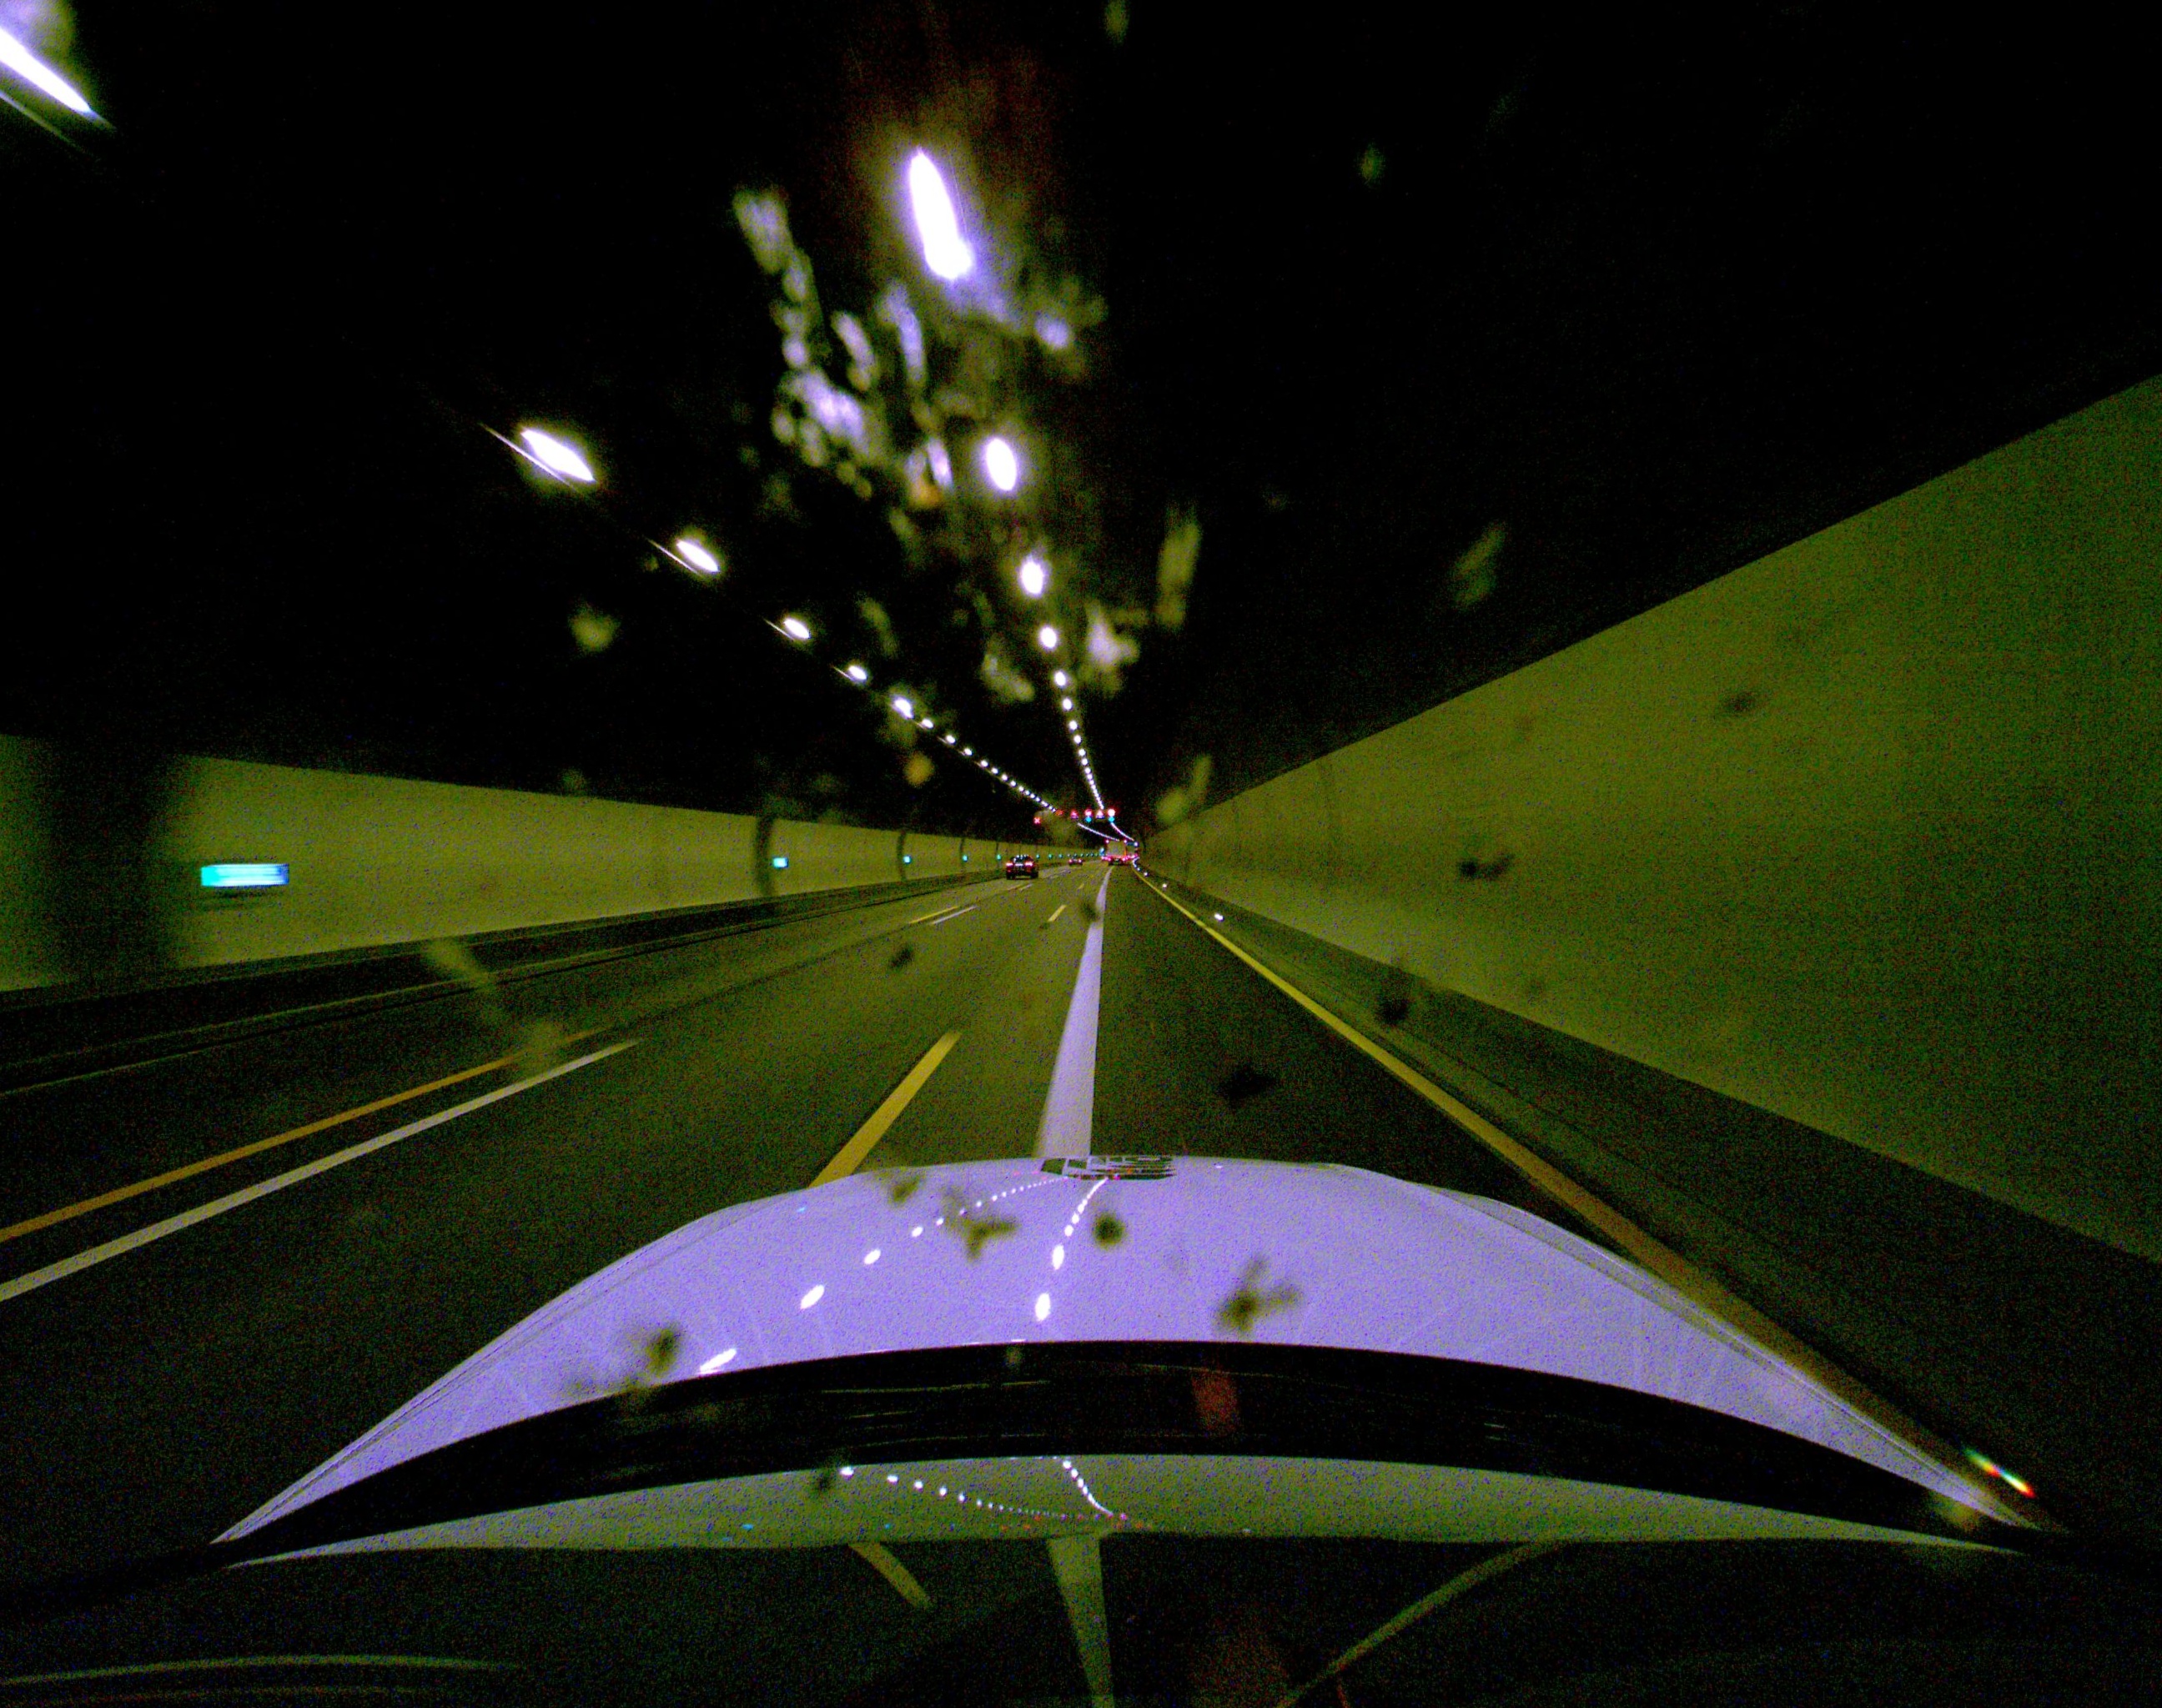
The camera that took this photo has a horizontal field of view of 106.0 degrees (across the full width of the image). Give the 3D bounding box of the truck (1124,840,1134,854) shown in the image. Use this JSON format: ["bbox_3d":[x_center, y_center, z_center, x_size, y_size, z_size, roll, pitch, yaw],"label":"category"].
[{"bbox_3d":[14.634,-2.095,247.264,2.910,4.047,14.044,-3,0,4],"label":"truck"}]

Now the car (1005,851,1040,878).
[{"bbox_3d":[-3.796,0.652,53.673,1.805,1.618,4.003,-1,0,3],"label":"car"}]

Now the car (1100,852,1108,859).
[{"bbox_3d":[4.952,0.340,172.747,1.644,1.274,4.002,-1,2,2],"label":"car"}]

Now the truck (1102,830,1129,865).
[{"bbox_3d":[4.926,-0.912,119.572,3.267,4.650,17.288,-3,0,1],"label":"truck"}]

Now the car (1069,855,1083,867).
[{"bbox_3d":[-0.642,0.973,111.837,1.806,1.520,4.002,-1,2,2],"label":"car"}]
